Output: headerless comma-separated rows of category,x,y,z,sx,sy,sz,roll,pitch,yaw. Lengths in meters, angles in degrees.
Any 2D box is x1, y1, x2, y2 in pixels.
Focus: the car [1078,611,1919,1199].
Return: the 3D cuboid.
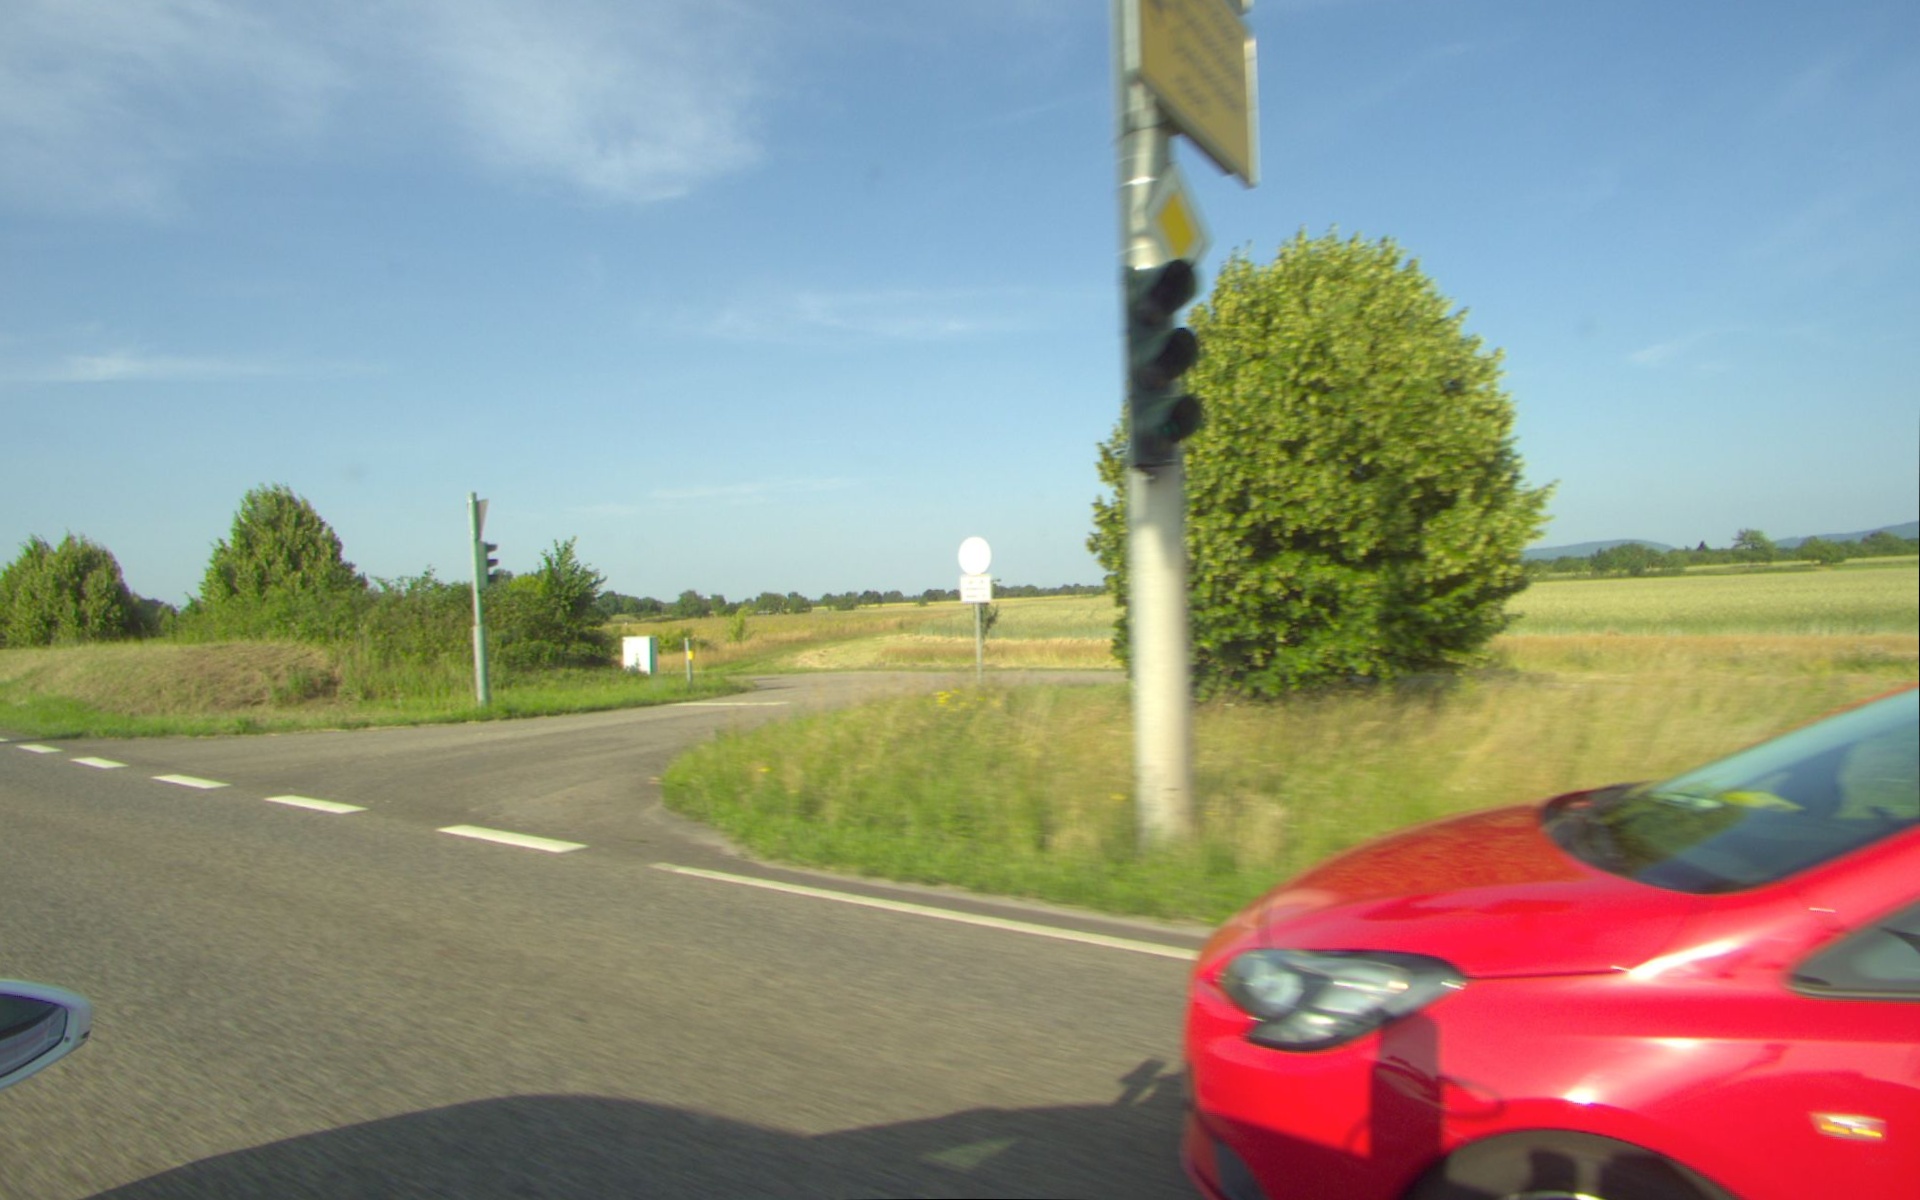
car,2.343,0.750,1.784,3.896,1.483,1.659,-2,-1,29
